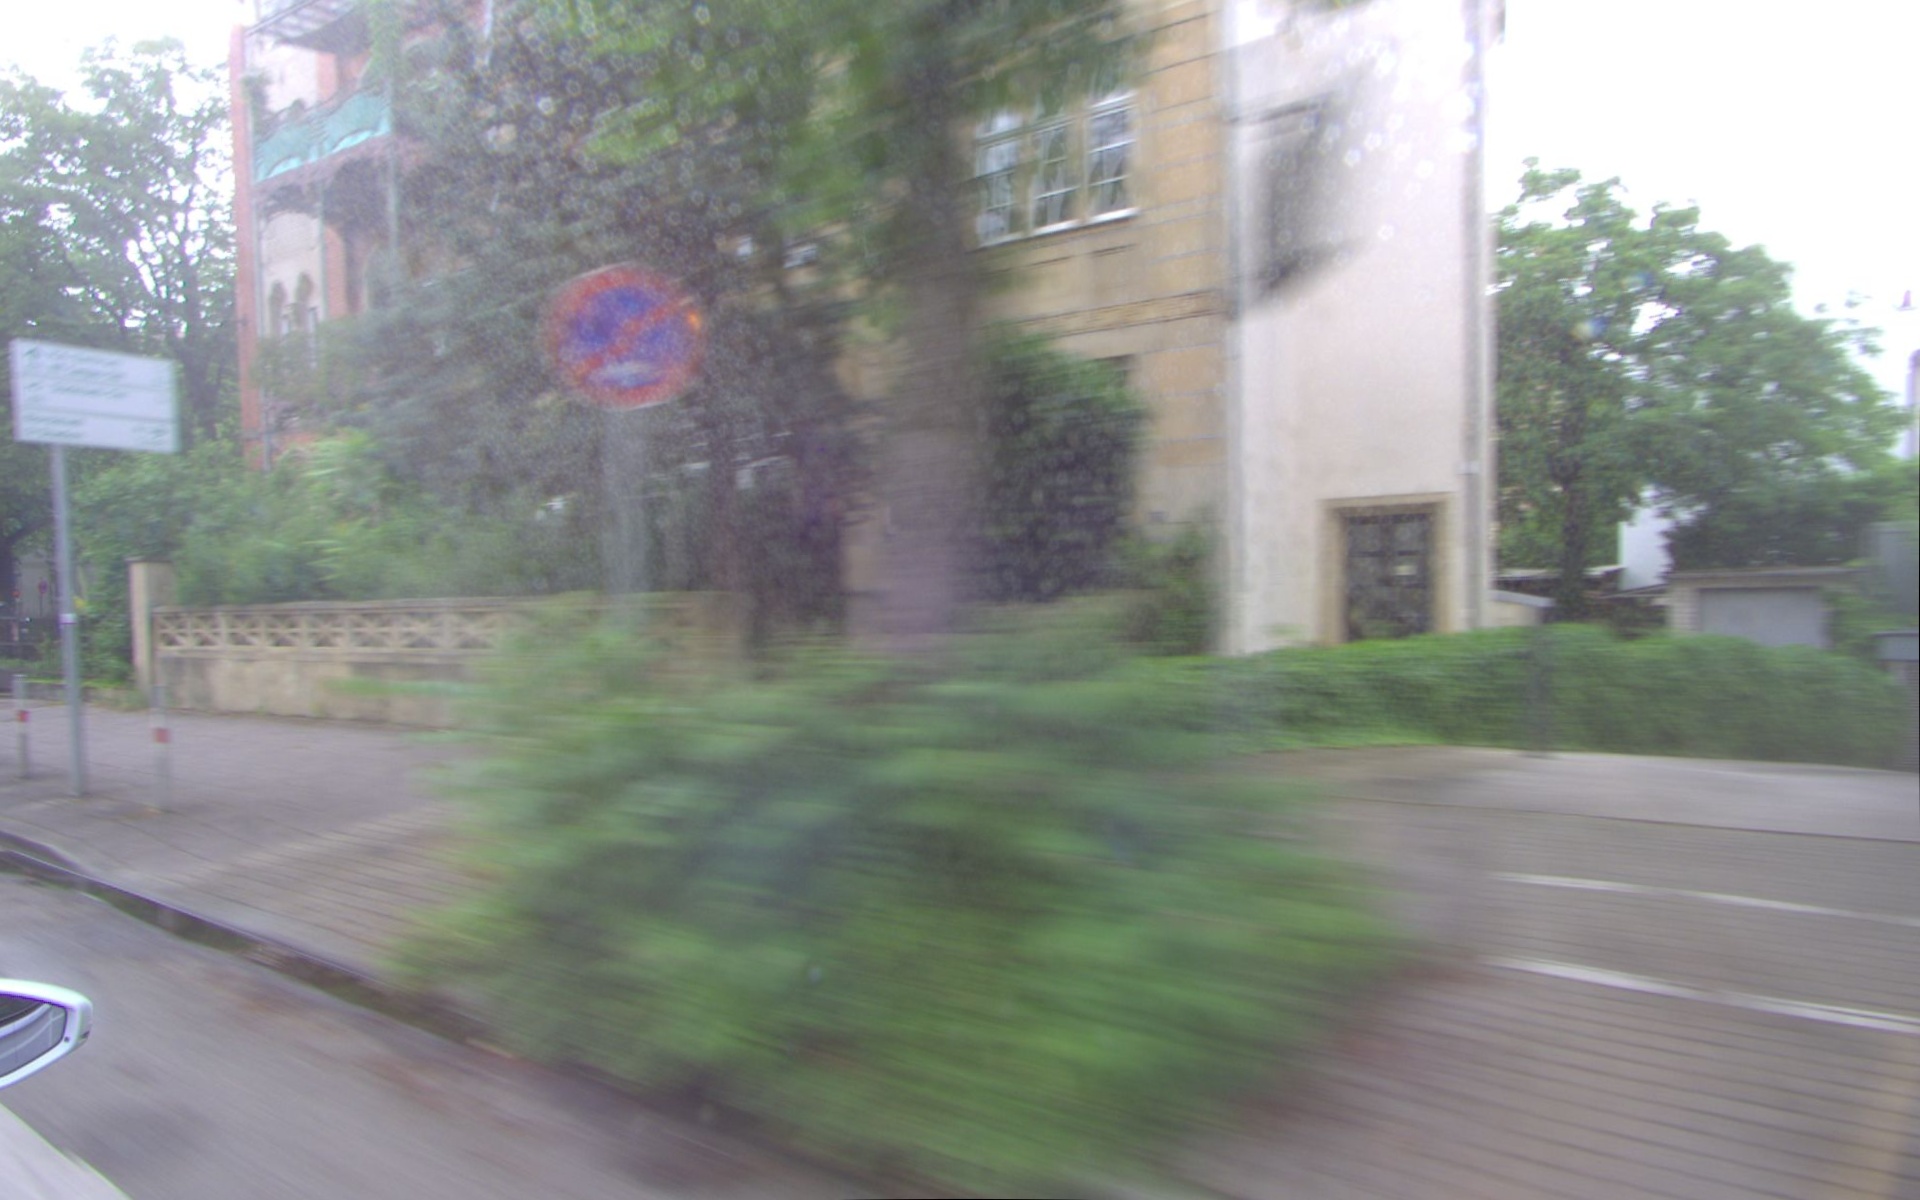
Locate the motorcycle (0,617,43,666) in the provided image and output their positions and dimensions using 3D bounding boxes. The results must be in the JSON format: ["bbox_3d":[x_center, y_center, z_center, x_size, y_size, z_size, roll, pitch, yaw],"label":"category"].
[{"bbox_3d":[-25.179,1.095,26.287,0.439,1.252,1.906,-1,1,-2],"label":"motorcycle"}]

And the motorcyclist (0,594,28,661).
[{"bbox_3d":[-25.171,0.711,26.242,0.691,1.715,0.804,-1,1,-3],"label":"motorcyclist"}]

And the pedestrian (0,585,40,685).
[{"bbox_3d":[-18.005,0.655,18.817,0.785,1.856,0.652,-1,1,-12],"label":"pedestrian"}]
